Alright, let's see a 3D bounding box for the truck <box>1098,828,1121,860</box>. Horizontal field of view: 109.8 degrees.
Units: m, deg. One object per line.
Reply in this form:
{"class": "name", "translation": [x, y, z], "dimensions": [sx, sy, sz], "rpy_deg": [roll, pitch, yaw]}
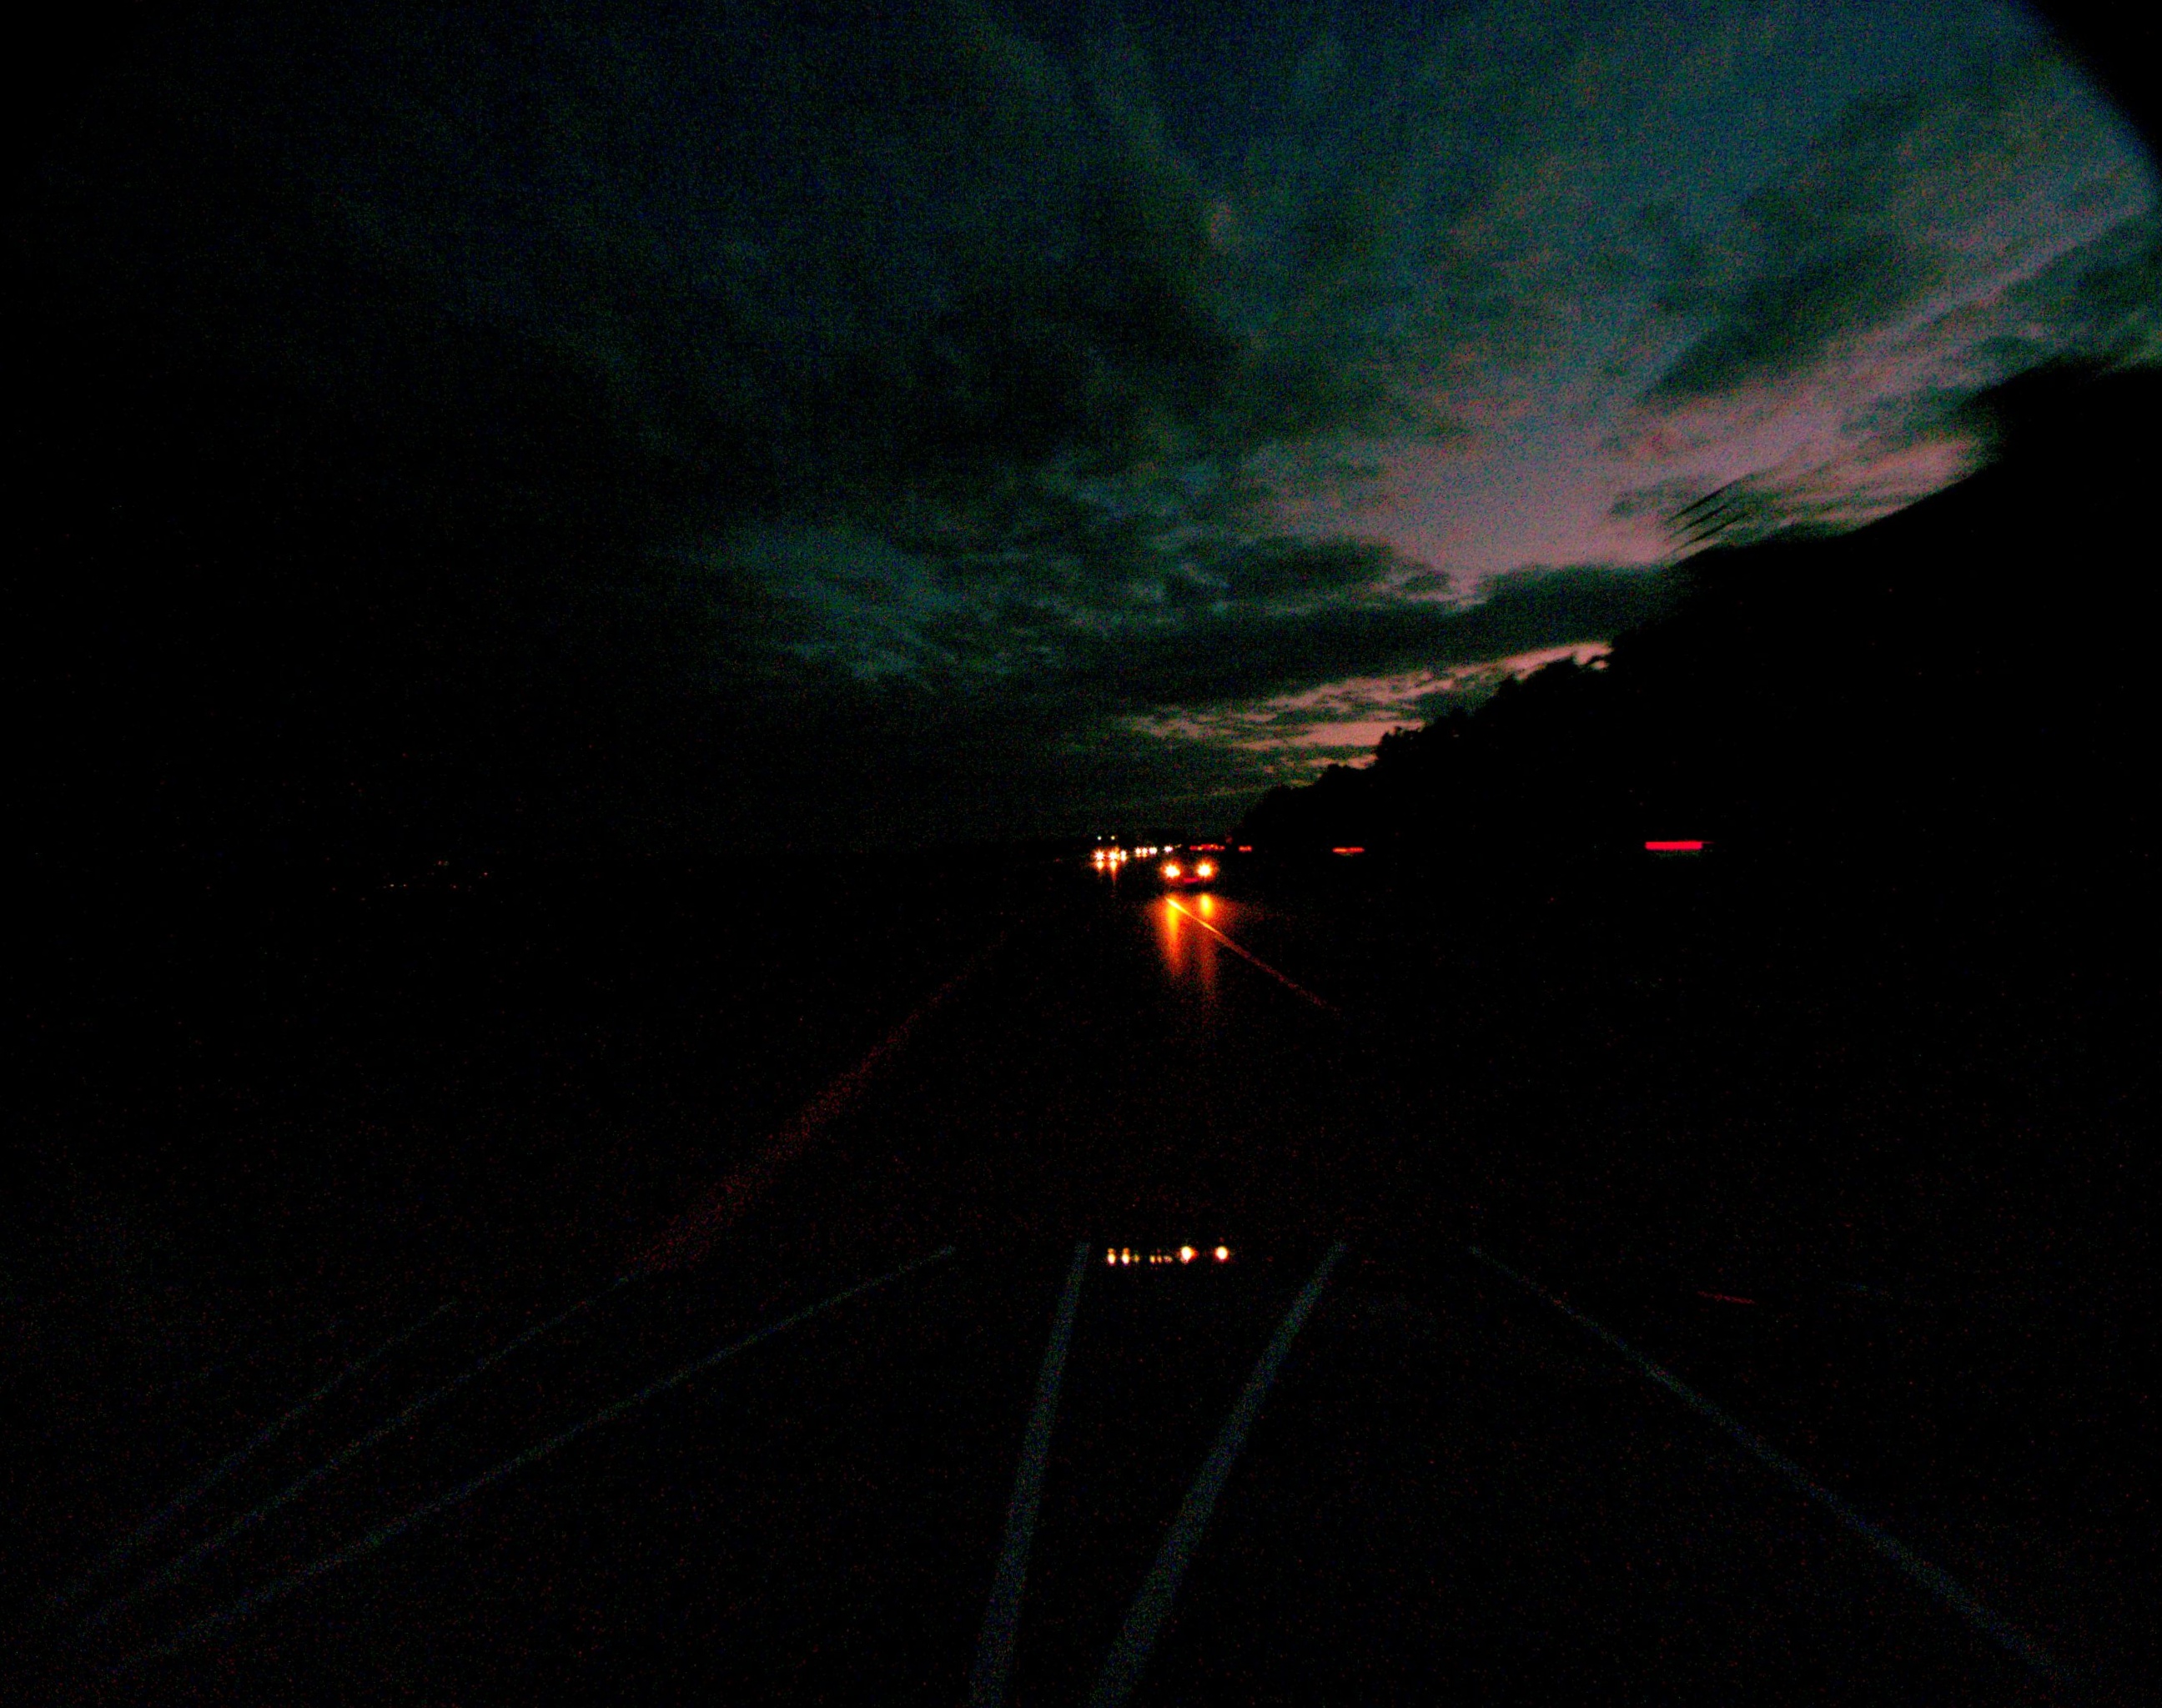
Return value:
{"class": "truck", "translation": [4.178, -1.504, 111.990], "dimensions": [3.026, 4.372, 11.614], "rpy_deg": [-3, 1, 2]}

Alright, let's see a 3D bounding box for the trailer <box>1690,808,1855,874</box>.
{"class": "trailer", "translation": [24.135, -0.432, 26.767], "dimensions": [1.917, 1.991, 4.240], "rpy_deg": [-4, 0, 2]}

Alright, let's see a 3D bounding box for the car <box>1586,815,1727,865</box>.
{"class": "car", "translation": [24.407, -0.589, 32.570], "dimensions": [1.917, 1.857, 5.523], "rpy_deg": [-3, 1, 2]}

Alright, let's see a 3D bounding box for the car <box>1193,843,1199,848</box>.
{"class": "car", "translation": [40.261, -2.979, 266.316], "dimensions": [1.838, 1.328, 4.911], "rpy_deg": [-3, 1, 6]}

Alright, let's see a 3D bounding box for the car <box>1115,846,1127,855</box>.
{"class": "car", "translation": [8.585, -0.757, 162.841], "dimensions": [1.997, 1.715, 4.002], "rpy_deg": [-3, 1, 9]}

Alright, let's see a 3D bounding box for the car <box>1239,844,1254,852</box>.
{"class": "car", "translation": [30.985, -1.130, 142.184], "dimensions": [1.998, 1.525, 5.007], "rpy_deg": [-3, 1, 3]}

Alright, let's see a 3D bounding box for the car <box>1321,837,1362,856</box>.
{"class": "car", "translation": [20.955, -0.635, 61.293], "dimensions": [1.693, 1.346, 4.897], "rpy_deg": [-3, 1, 2]}

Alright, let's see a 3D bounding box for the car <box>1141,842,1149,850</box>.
{"class": "car", "translation": [15.667, -1.979, 186.380], "dimensions": [1.652, 1.654, 3.777], "rpy_deg": [-3, 1, 9]}

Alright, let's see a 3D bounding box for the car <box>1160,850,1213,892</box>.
{"class": "car", "translation": [4.198, 0.623, 30.743], "dimensions": [1.717, 1.471, 4.000], "rpy_deg": [-3, 1, 2]}

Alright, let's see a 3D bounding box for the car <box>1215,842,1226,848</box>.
{"class": "car", "translation": [35.730, -2.265, 194.732], "dimensions": [1.998, 1.497, 4.506], "rpy_deg": [-3, 1, 4]}
